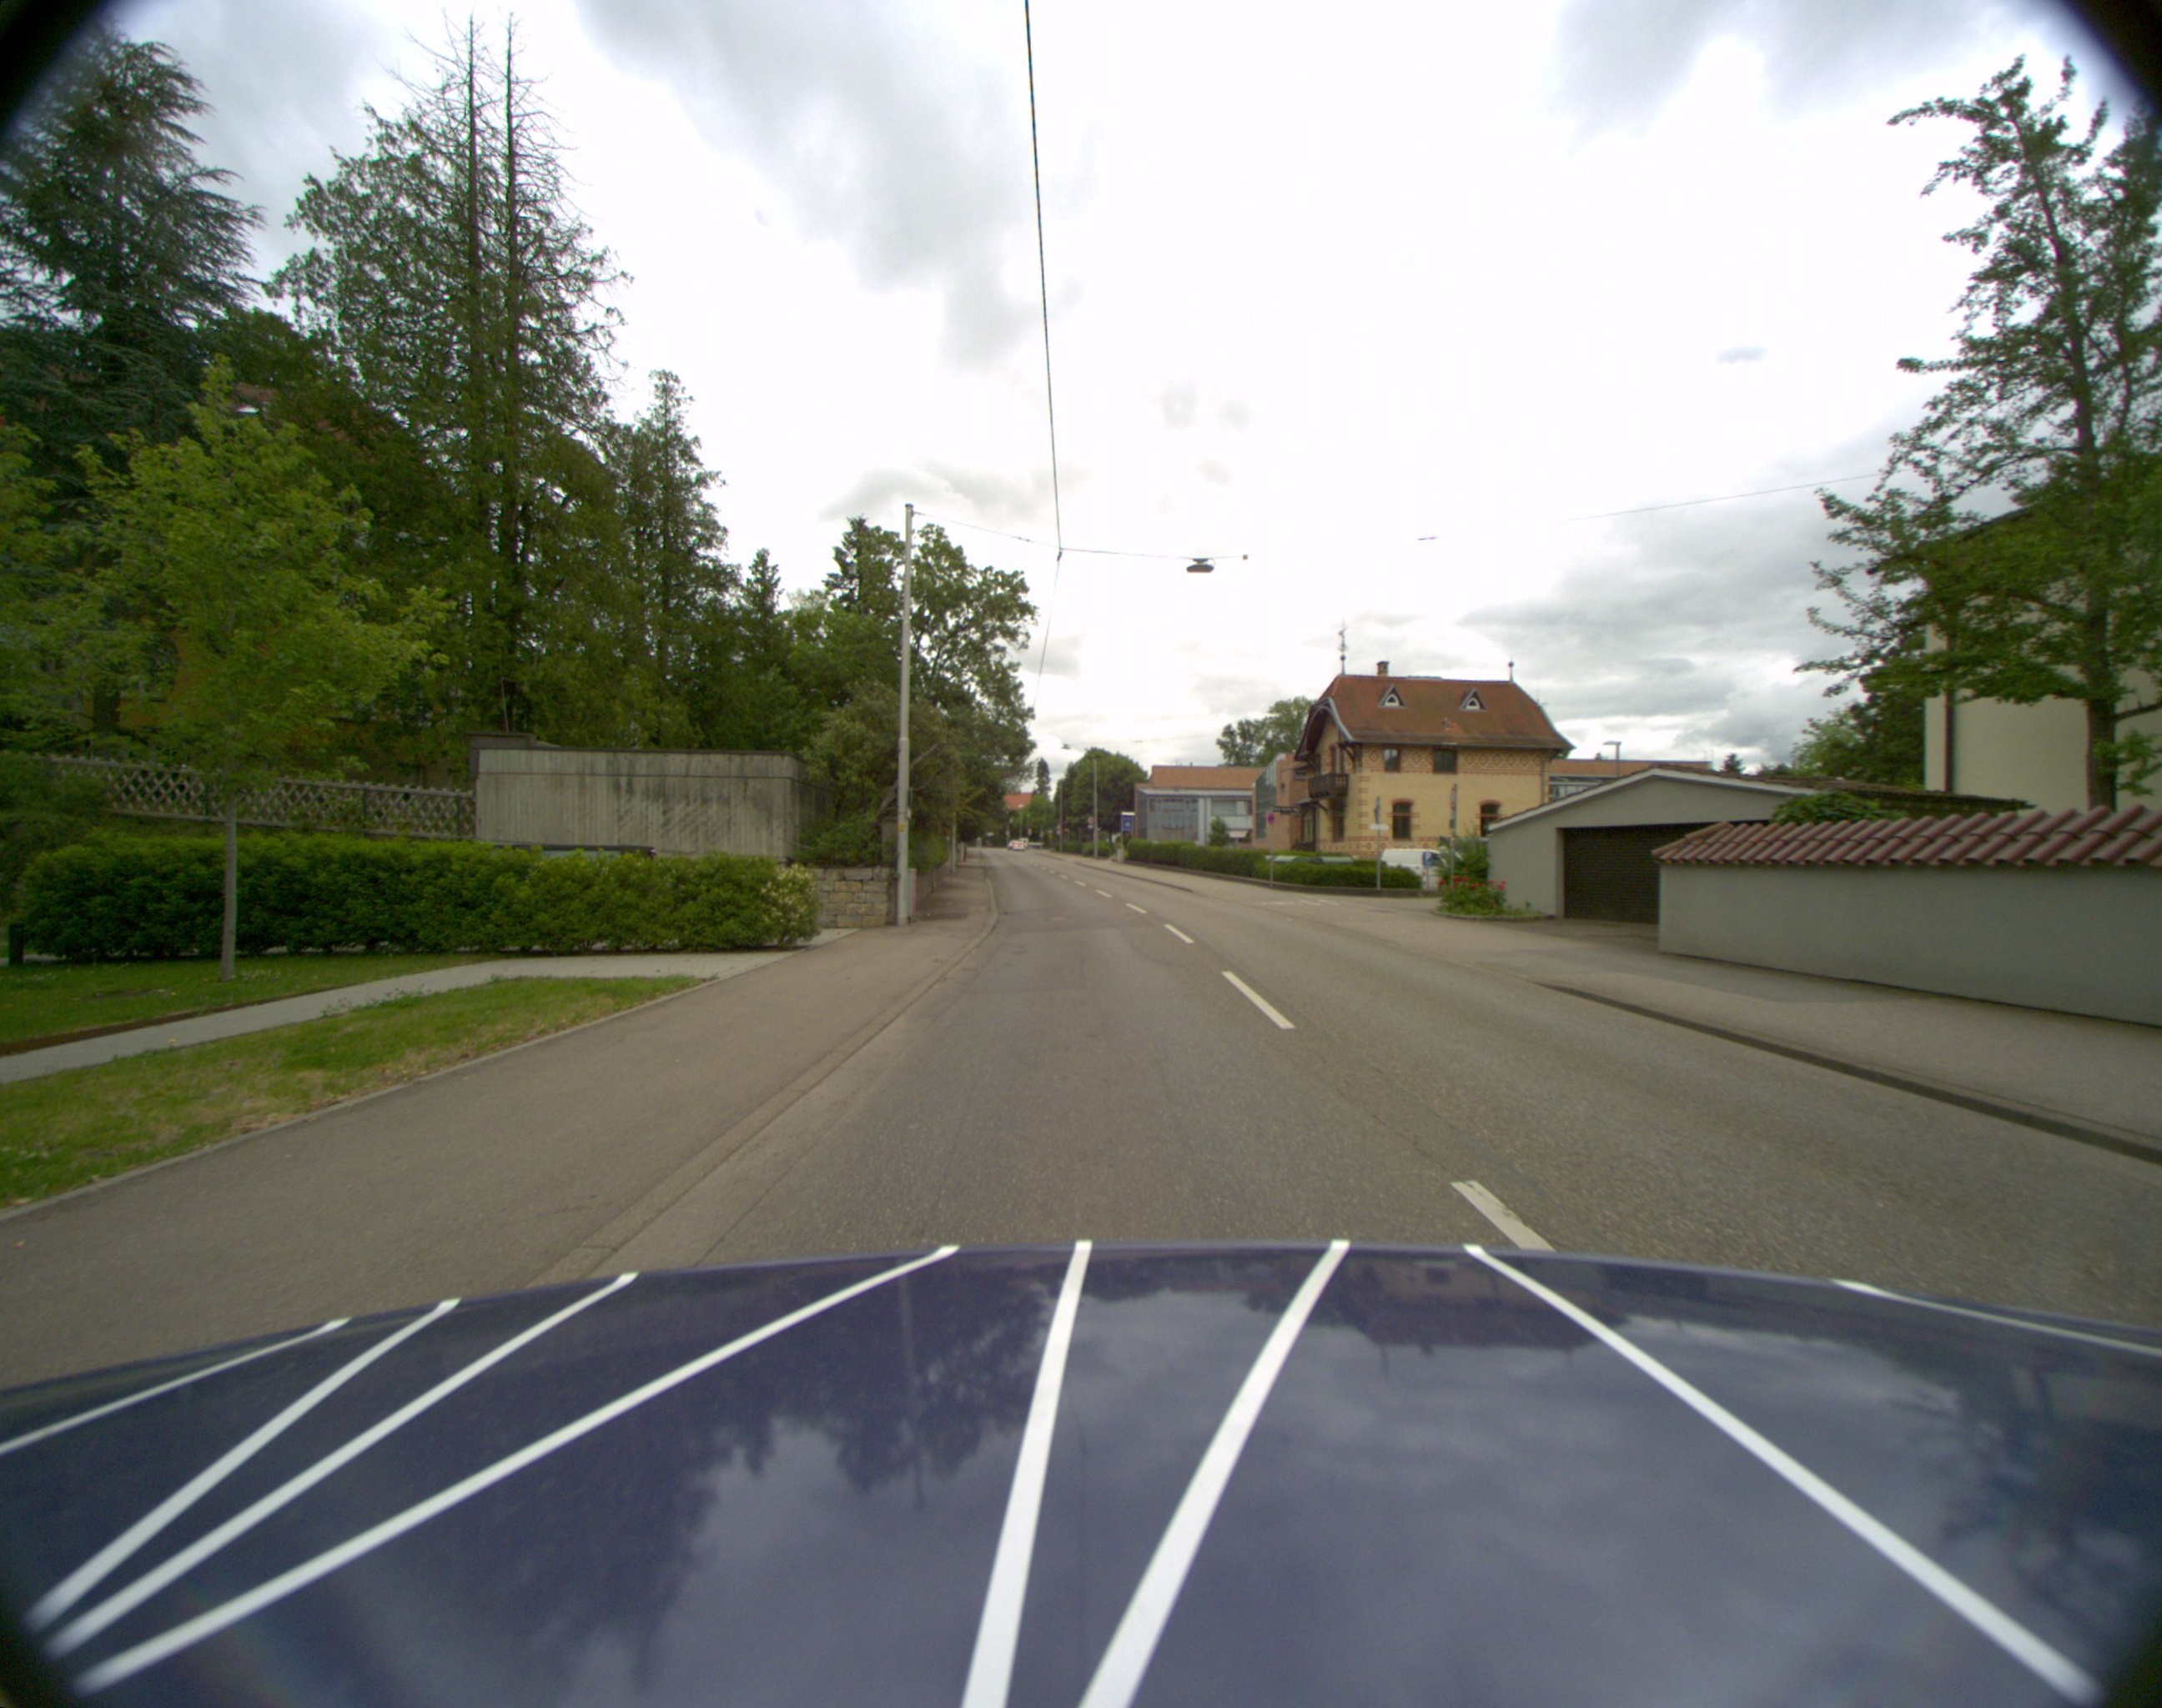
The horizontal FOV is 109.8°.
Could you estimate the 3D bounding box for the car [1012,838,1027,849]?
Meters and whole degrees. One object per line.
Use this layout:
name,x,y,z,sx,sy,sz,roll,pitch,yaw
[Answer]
car,-10.484,-1.789,128.426,2.001,1.701,3.995,0,1,-12

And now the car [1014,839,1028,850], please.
car,-9.587,-1.506,121.557,2.000,1.701,3.996,0,1,-7

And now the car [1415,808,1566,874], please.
car,17.364,-0.558,32.649,2.002,2.604,5.710,0,1,-22

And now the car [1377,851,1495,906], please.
car,14.917,0.955,32.240,1.896,2.058,4.608,0,1,-18
